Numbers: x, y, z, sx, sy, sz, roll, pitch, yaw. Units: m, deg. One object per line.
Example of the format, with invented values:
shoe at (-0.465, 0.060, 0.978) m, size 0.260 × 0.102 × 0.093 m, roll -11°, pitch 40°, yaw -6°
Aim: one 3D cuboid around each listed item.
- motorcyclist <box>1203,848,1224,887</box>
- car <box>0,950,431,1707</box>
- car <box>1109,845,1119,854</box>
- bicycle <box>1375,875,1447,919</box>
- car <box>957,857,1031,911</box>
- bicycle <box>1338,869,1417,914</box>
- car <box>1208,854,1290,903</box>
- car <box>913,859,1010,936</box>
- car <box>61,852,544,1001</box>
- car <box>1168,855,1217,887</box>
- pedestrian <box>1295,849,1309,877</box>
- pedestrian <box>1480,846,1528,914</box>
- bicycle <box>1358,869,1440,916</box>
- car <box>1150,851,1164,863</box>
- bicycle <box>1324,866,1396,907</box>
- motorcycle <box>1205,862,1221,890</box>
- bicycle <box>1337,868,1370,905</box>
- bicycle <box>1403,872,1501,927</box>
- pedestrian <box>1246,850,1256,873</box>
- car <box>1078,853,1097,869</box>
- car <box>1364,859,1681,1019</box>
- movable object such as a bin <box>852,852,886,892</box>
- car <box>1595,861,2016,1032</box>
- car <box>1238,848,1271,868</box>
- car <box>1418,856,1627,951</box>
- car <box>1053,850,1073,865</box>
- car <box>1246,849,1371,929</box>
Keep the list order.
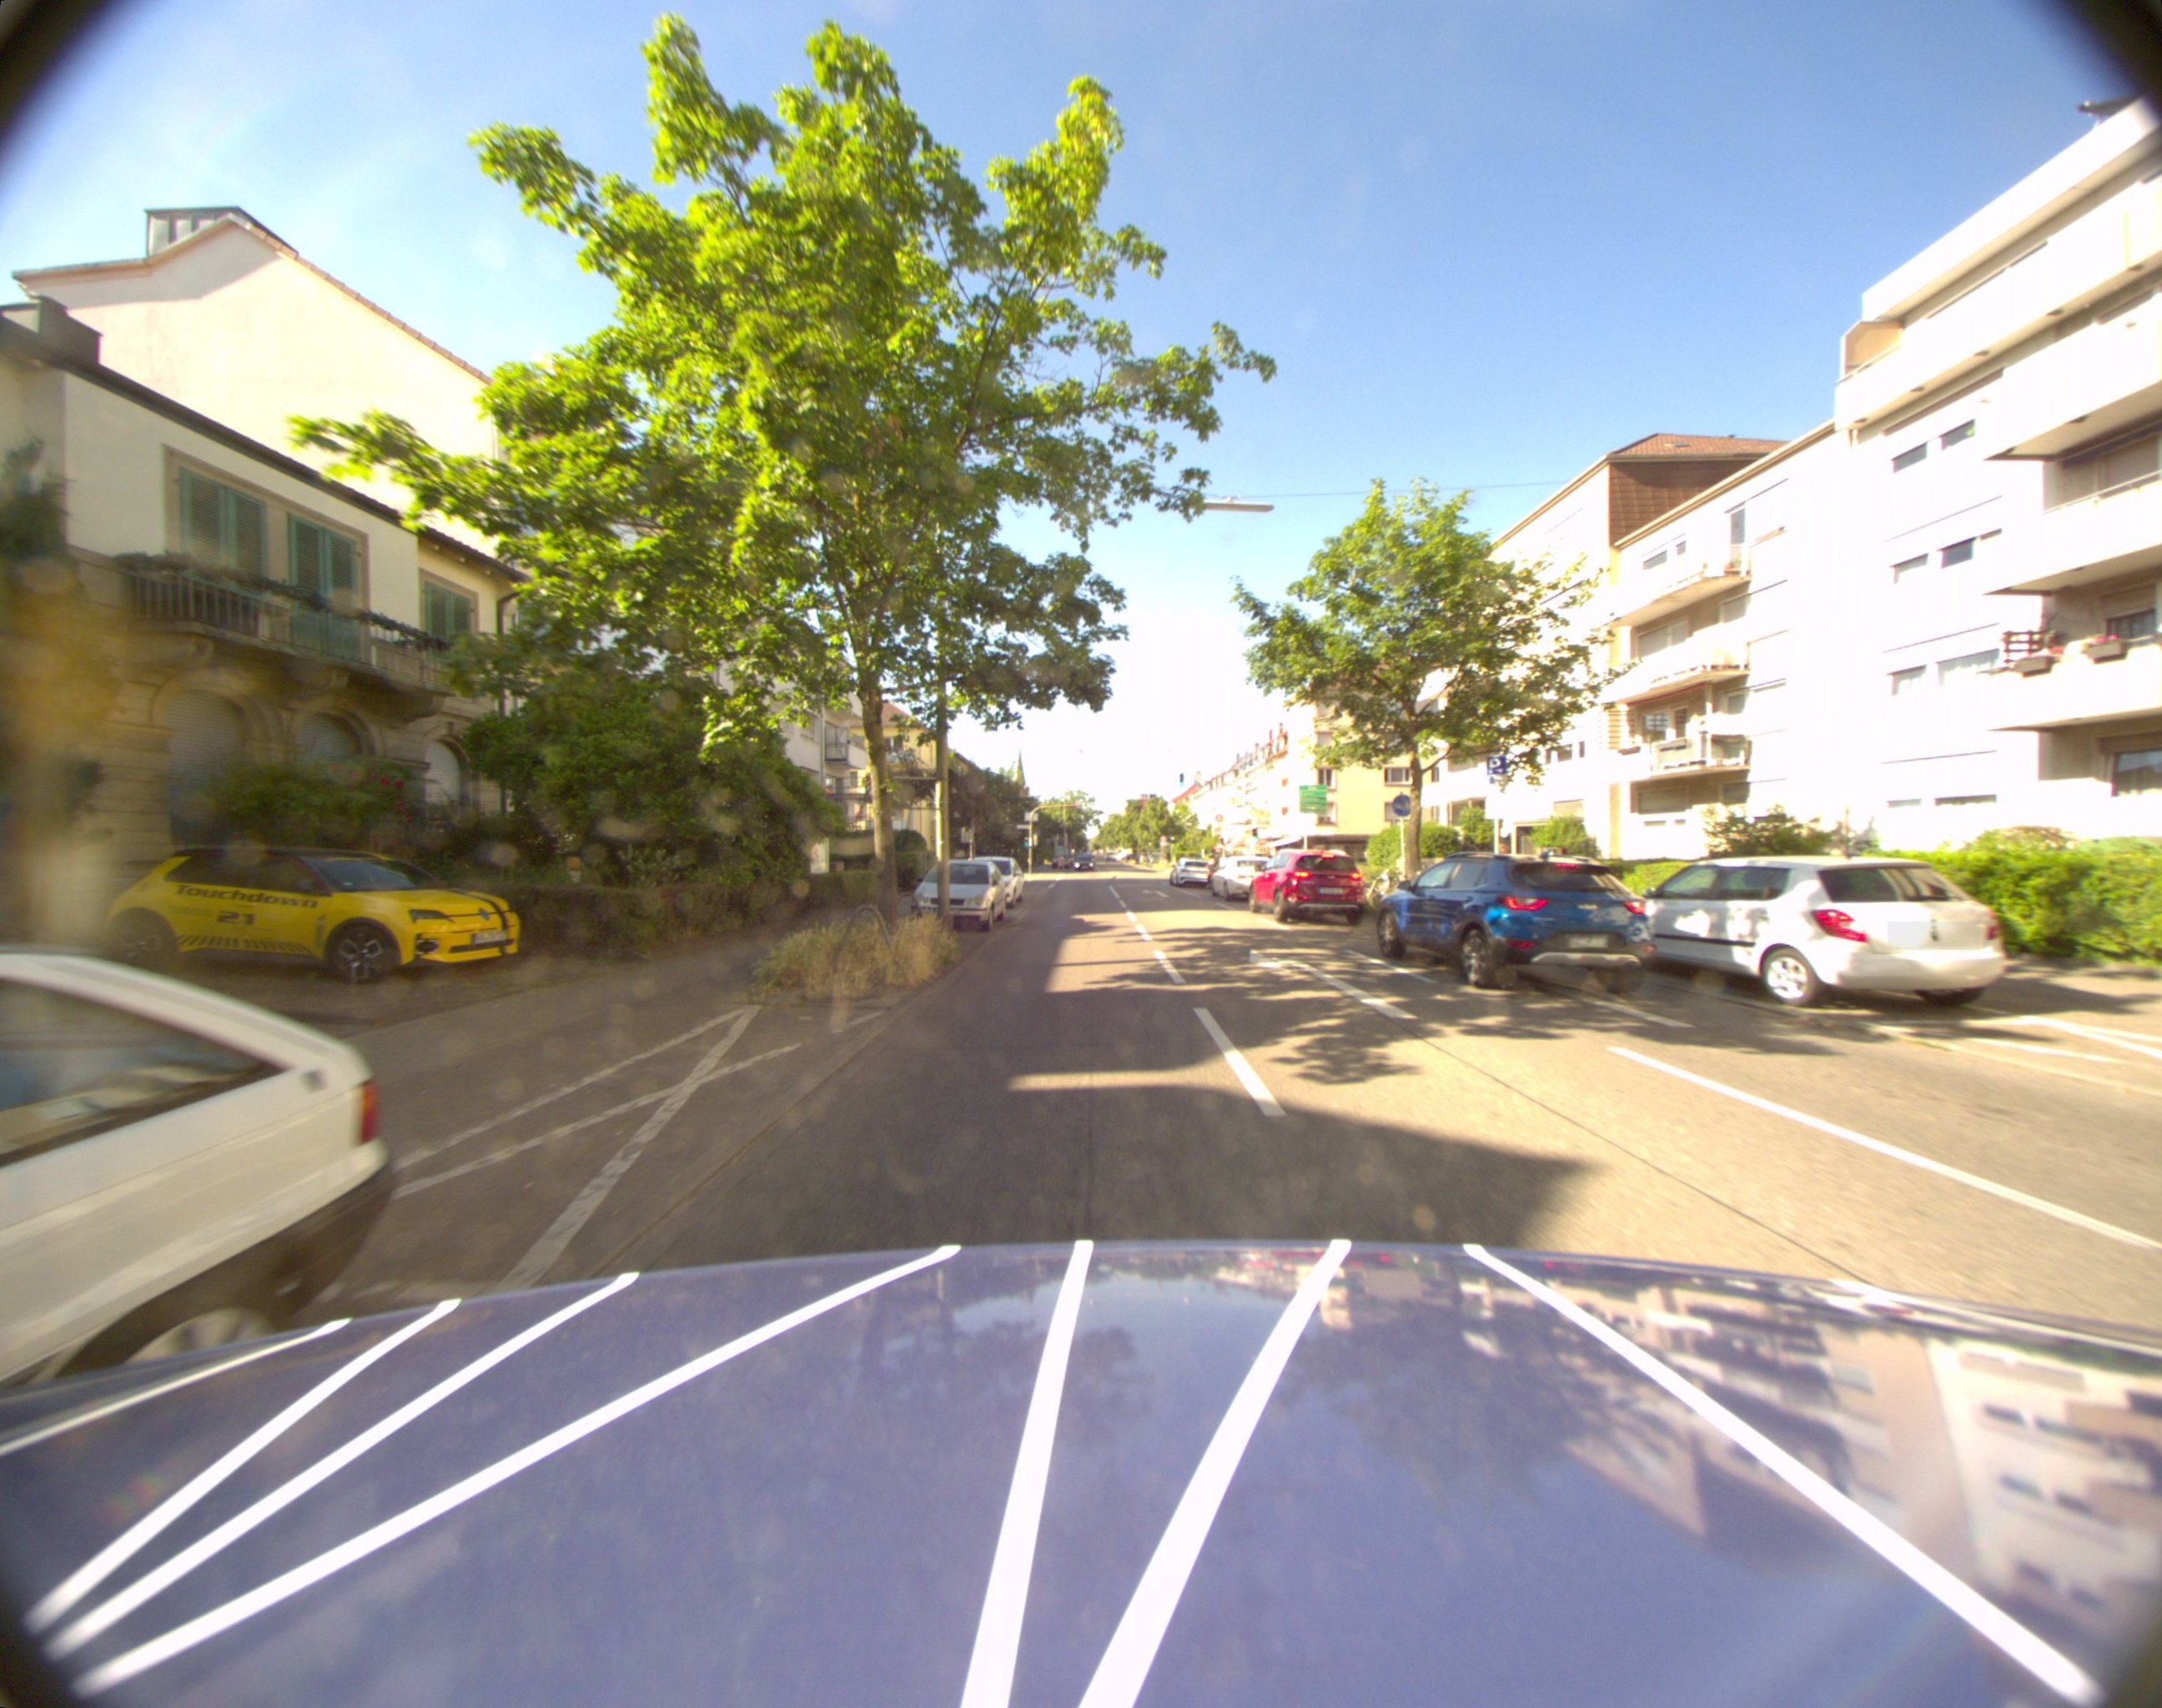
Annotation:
motorcyclist at (5.711, 0.558, 32.776) m, size 0.730 × 1.637 × 0.918 m, roll 2°, pitch 1°, yaw 6°
car at (-2.845, 1.008, 0.323) m, size 1.653 × 1.395 × 3.970 m, roll 1°, pitch 0°, yaw 1°
car at (6.792, -0.972, 155.934) m, size 1.966 × 1.911 × 5.496 m, roll 0°, pitch 0°, yaw 1°
bicycle at (8.043, 1.050, 18.550) m, size 1.540 × 0.960 × 0.448 m, roll -3°, pitch 1°, yaw 0°
car at (-2.642, 0.863, 23.870) m, size 1.743 × 1.473 × 4.196 m, roll 1°, pitch 1°, yaw 1°
bicycle at (7.860, 0.979, 20.186) m, size 1.831 × 1.080 × 0.560 m, roll -3°, pitch 1°, yaw 0°
car at (5.690, 0.778, 26.302) m, size 1.818 × 1.456 × 4.778 m, roll 2°, pitch 1°, yaw 1°
car at (-2.550, 0.879, 16.973) m, size 1.571 × 1.448 × 3.864 m, roll 1°, pitch 1°, yaw -1°
car at (-9.239, 0.802, 9.293) m, size 3.997 × 1.433 × 1.831 m, roll 3°, pitch 1°, yaw 1°
car at (5.437, 0.796, 37.502) m, size 1.702 × 1.398 × 4.505 m, roll 2°, pitch 0°, yaw 0°
pedestrian at (13.266, 0.553, 45.639) m, size 0.659 × 1.649 × 0.682 m, roll 0°, pitch 1°, yaw 2°
pedestrian at (10.708, 0.634, 19.257) m, size 0.671 × 1.677 × 0.929 m, roll -1°, pitch 1°, yaw 0°
bicycle at (8.058, 0.967, 19.275) m, size 1.831 × 1.080 × 0.492 m, roll -3°, pitch 1°, yaw 0°
car at (8.580, 0.324, 85.951) m, size 1.322 × 1.348 × 3.093 m, roll 0°, pitch 0°, yaw 1°
bicycle at (8.388, 0.967, 22.892) m, size 1.973 × 1.156 × 0.519 m, roll -1°, pitch 1°, yaw -4°
motorcycle at (5.697, 0.929, 32.811) m, size 0.449 × 1.115 × 1.933 m, roll 2°, pitch 1°, yaw 5°
bicycle at (8.662, 1.016, 24.203) m, size 0.427 × 1.072 × 1.706 m, roll 0°, pitch 0°, yaw 0°
bicycle at (8.106, 0.990, 16.641) m, size 1.831 × 1.080 × 0.560 m, roll -3°, pitch 1°, yaw 0°
pedestrian at (12.804, 0.536, 57.212) m, size 0.671 × 1.709 × 0.584 m, roll 0°, pitch 2°, yaw 10°
car at (0.609, 0.628, 69.918) m, size 1.654 × 1.348 × 4.304 m, roll 0°, pitch 0°, yaw 1°
car at (5.238, 0.881, 9.752) m, size 1.660 × 1.508 × 4.076 m, roll 2°, pitch 0°, yaw 1°
movable object such as a bin at (-7.864, 0.655, 28.252) m, size 1.090 × 1.465 × 0.842 m, roll 1°, pitch 1°, yaw -9°
car at (7.808, 0.862, 8.728) m, size 1.404 × 1.480 × 3.685 m, roll -1°, pitch 0°, yaw 2°
car at (14.282, 0.282, 62.768) m, size 1.764 × 1.613 × 4.304 m, roll 0°, pitch 0°, yaw 1°
car at (7.869, 0.793, 13.993) m, size 1.508 × 1.467 × 3.895 m, roll -1°, pitch 0°, yaw -1°
car at (-1.854, 0.325, 78.213) m, size 1.822 × 1.542 × 4.304 m, roll 0°, pitch 0°, yaw 1°
car at (5.240, 0.743, 18.121) m, size 1.726 × 1.607 × 4.300 m, roll 2°, pitch 0°, yaw 1°
